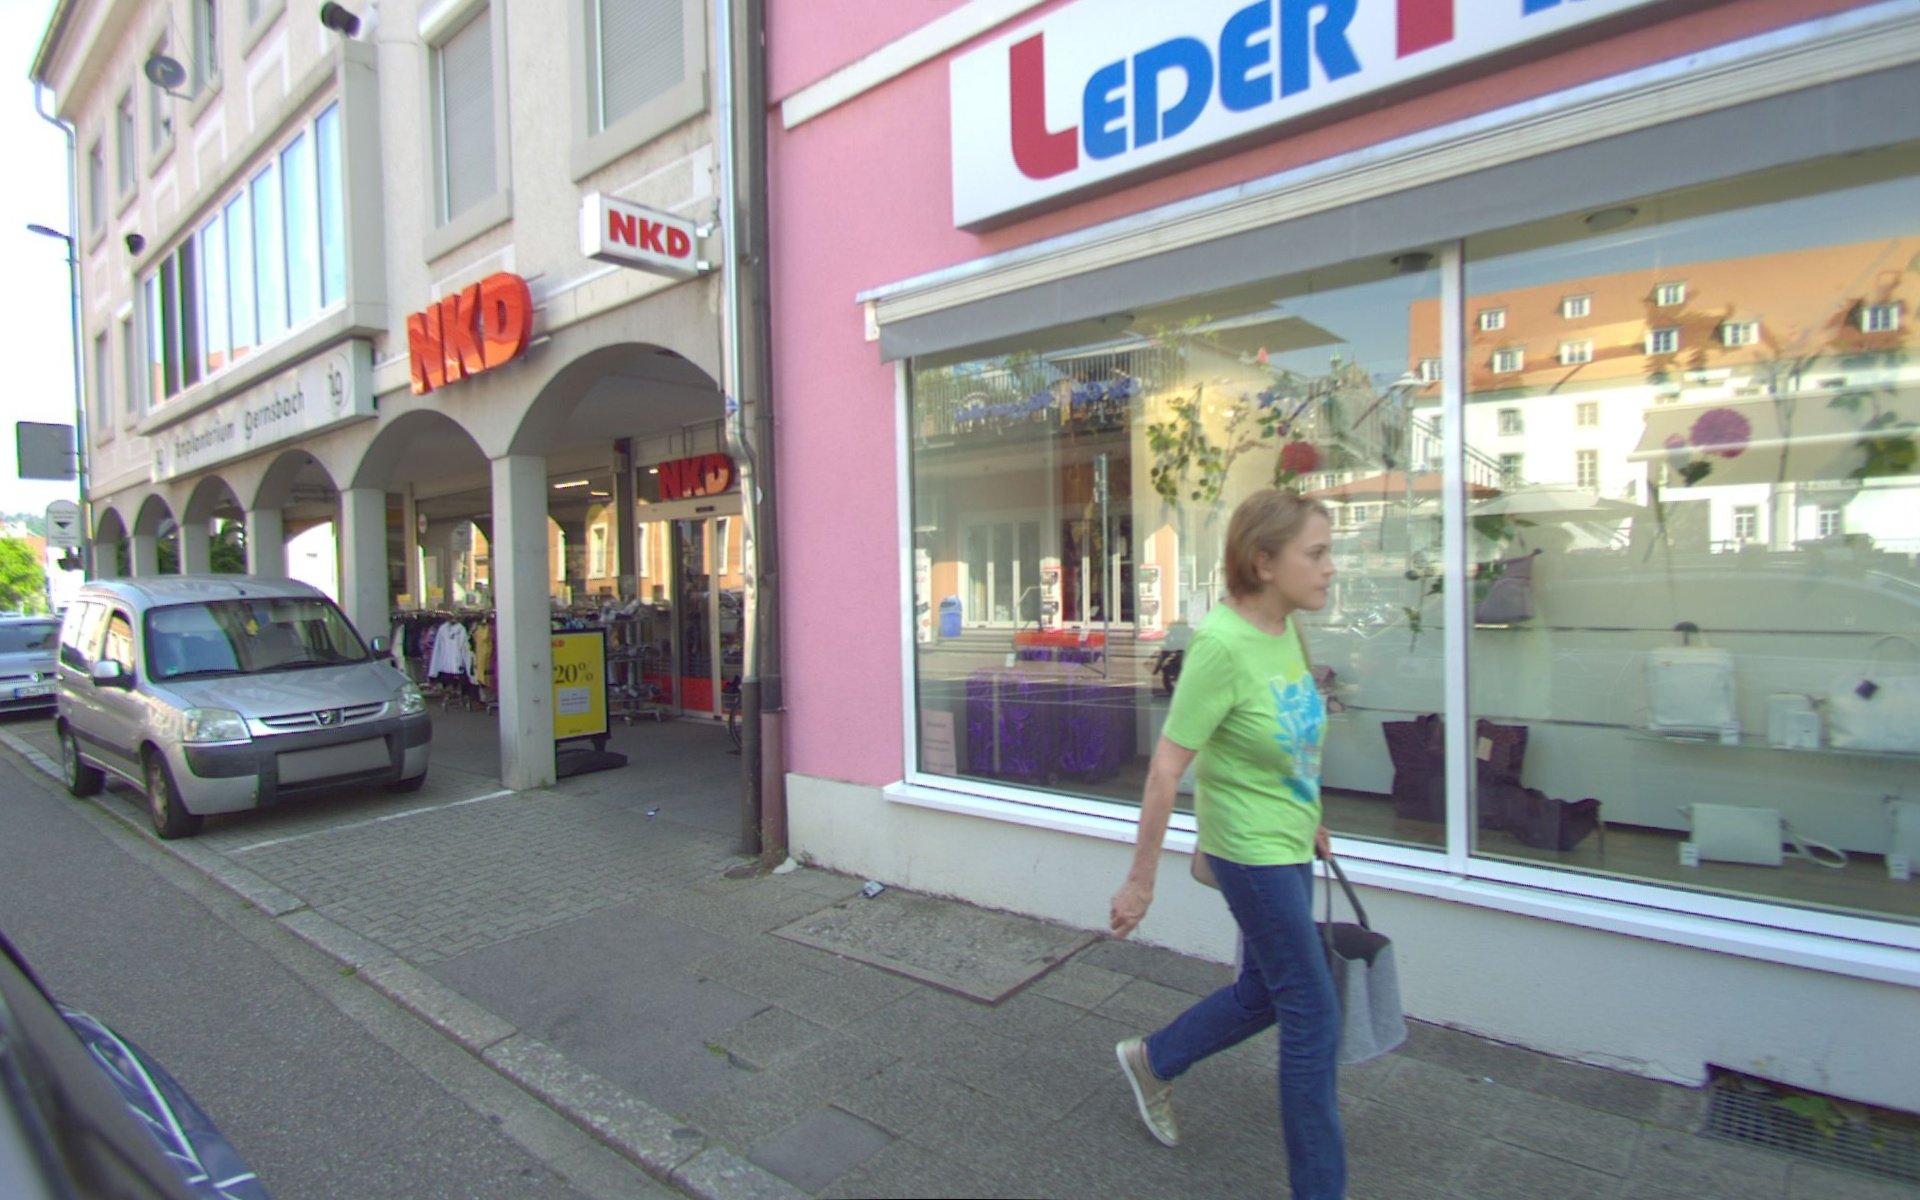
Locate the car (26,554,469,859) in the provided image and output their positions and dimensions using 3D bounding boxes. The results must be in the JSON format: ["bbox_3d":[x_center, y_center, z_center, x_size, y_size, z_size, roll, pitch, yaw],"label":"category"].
[{"bbox_3d":[-5.697,0.638,7.897,4.141,1.752,1.690,-1,2,39],"label":"car"}]

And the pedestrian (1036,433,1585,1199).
[{"bbox_3d":[0.787,0.526,2.257,0.859,1.644,0.777,-1,3,43],"label":"pedestrian"}]

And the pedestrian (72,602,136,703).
[{"bbox_3d":[-13.819,0.836,16.345,0.533,1.563,0.616,-2,1,34],"label":"pedestrian"}]

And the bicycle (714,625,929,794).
[{"bbox_3d":[-1.096,0.767,7.698,1.823,1.130,0.514,-1,0,41],"label":"bicycle"}]

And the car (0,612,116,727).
[{"bbox_3d":[-14.216,0.976,15.137,4.453,1.481,1.784,-1,1,42],"label":"car"}]

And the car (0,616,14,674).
[{"bbox_3d":[-27.949,1.274,28.395,3.970,1.572,1.746,-1,0,43],"label":"car"}]

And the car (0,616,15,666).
[{"bbox_3d":[-34.055,1.408,35.037,1.657,1.680,3.978,-2,0,-39],"label":"car"}]
